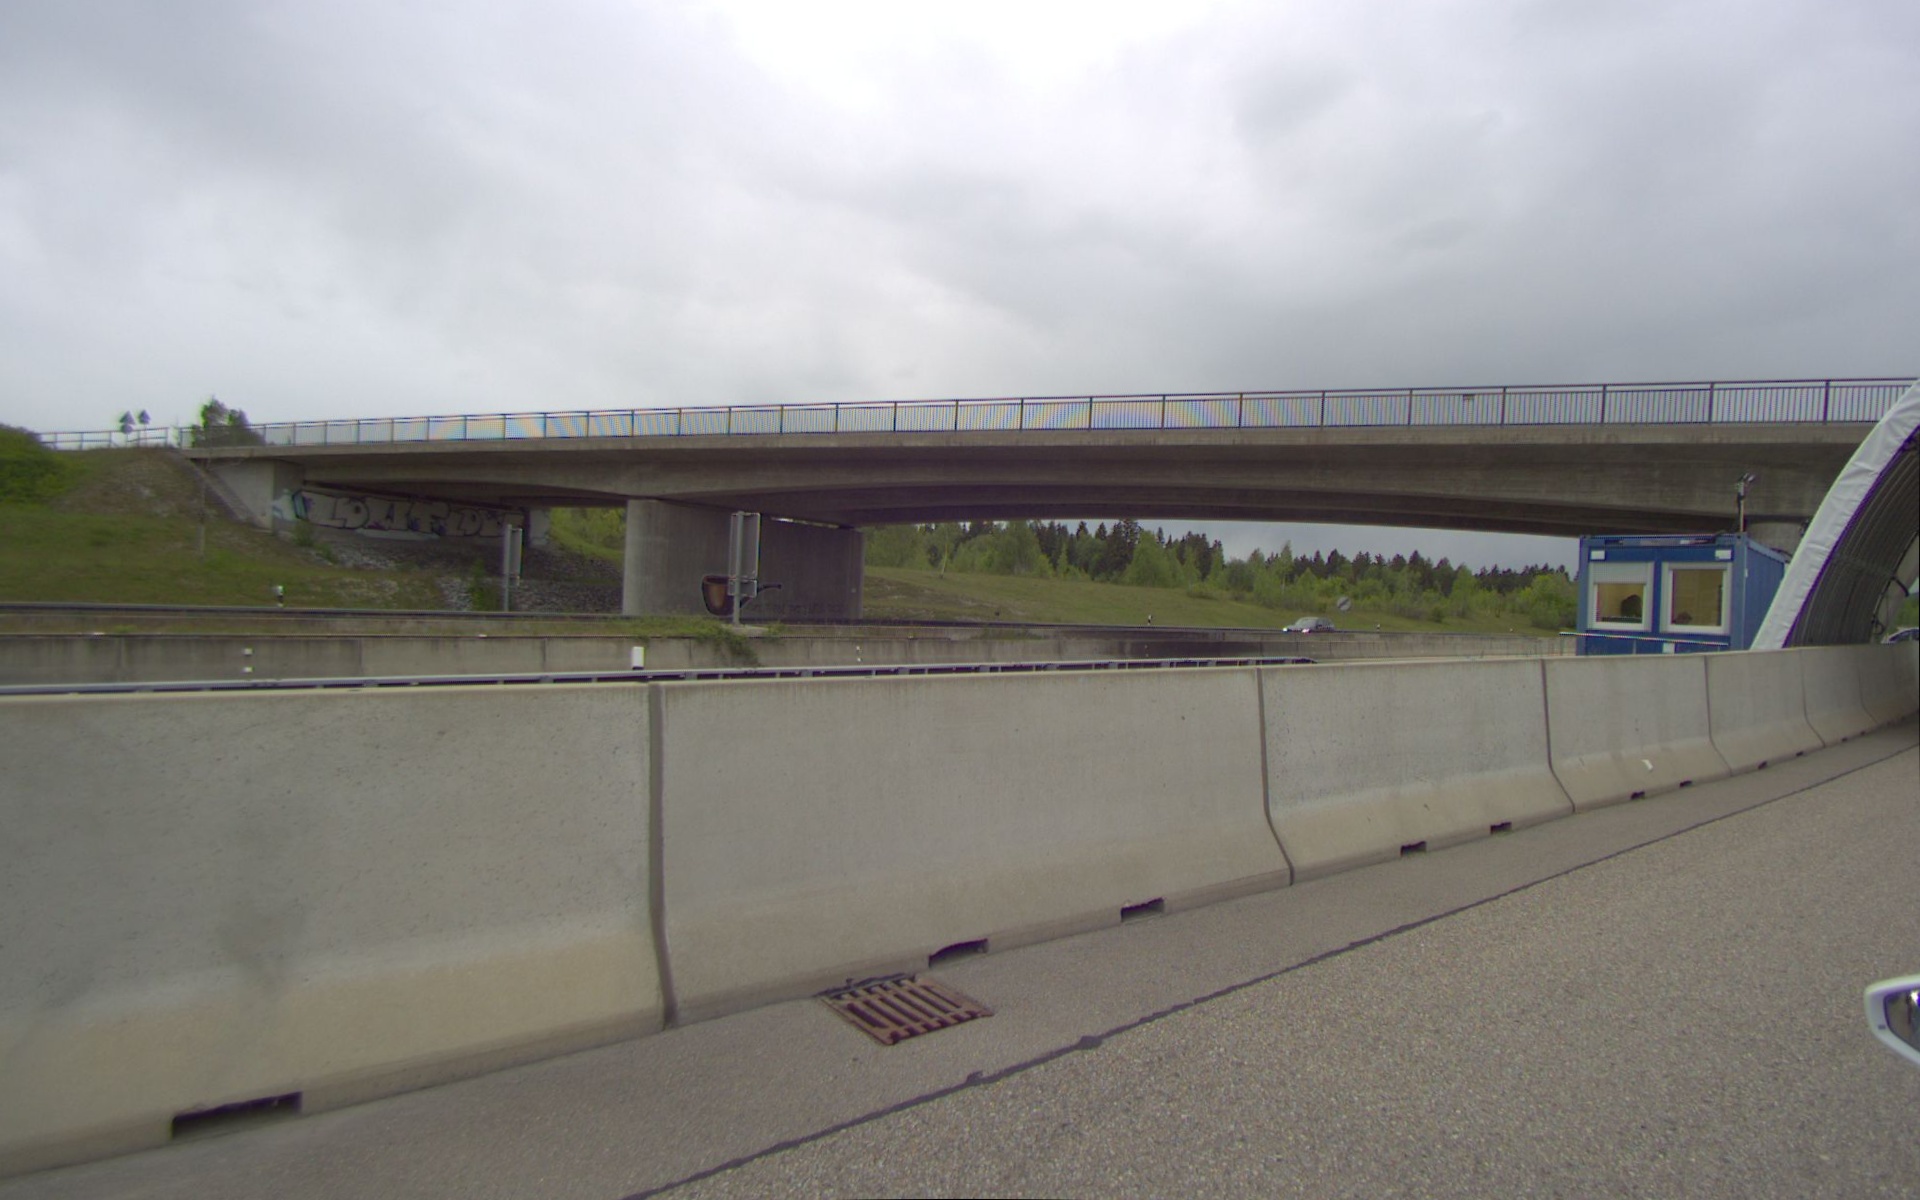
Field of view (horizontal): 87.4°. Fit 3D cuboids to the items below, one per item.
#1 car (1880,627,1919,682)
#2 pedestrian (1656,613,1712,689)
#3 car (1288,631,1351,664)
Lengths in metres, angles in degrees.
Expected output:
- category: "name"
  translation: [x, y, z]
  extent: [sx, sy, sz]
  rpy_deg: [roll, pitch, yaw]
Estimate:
- category: "car"
  translation: [36.761, 2.046, 36.378]
  extent: [1.814, 2.040, 4.797]
  rpy_deg: [2, -1, -22]
- category: "pedestrian"
  translation: [13.640, 0.957, 18.921]
  extent: [0.618, 1.391, 0.609]
  rpy_deg: [2, -1, -21]
- category: "car"
  translation: [23.479, 3.080, 65.579]
  extent: [1.964, 1.981, 5.079]
  rpy_deg: [0, -2, 44]
